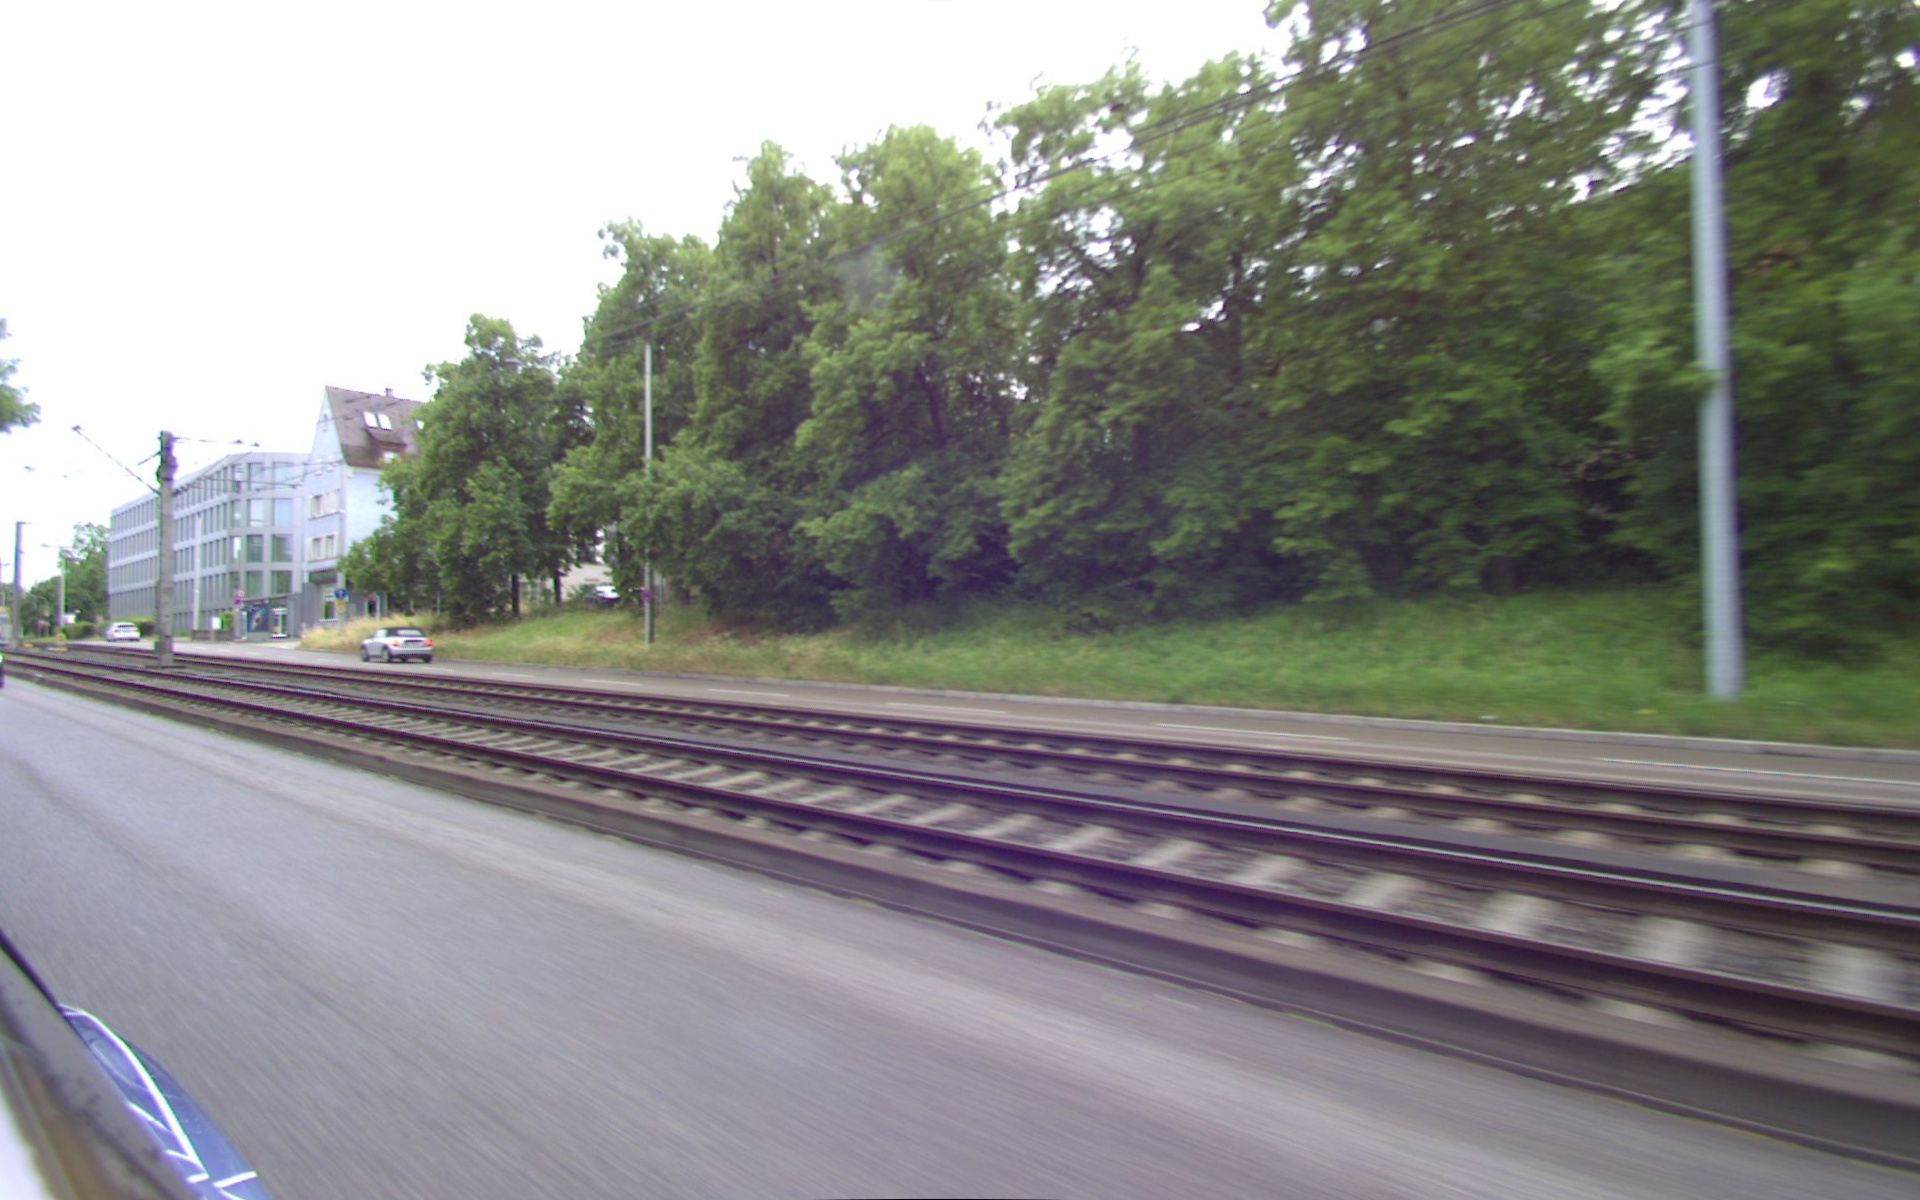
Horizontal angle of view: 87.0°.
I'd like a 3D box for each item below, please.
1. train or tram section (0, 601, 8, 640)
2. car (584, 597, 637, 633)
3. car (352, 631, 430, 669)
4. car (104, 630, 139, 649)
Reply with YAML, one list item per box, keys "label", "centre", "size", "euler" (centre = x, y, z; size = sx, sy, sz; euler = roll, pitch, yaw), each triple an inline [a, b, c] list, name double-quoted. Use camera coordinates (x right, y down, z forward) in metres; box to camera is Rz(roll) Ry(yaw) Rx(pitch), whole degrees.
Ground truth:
- label: "train or tram section"
  centre: [-103.117, 2.314, 106.215]
  size: [19.512, 3.840, 2.936]
  euler: [-2, -2, 42]
- label: "car"
  centre: [-20.502, 0.905, 59.245]
  size: [1.934, 2.029, 4.228]
  euler: [1, -2, -33]
- label: "car"
  centre: [-22.908, 1.983, 40.686]
  size: [3.907, 1.447, 1.460]
  euler: [-2, -4, 41]
- label: "car"
  centre: [-69.714, 3.274, 84.117]
  size: [4.379, 1.541, 1.635]
  euler: [-2, -2, 42]
